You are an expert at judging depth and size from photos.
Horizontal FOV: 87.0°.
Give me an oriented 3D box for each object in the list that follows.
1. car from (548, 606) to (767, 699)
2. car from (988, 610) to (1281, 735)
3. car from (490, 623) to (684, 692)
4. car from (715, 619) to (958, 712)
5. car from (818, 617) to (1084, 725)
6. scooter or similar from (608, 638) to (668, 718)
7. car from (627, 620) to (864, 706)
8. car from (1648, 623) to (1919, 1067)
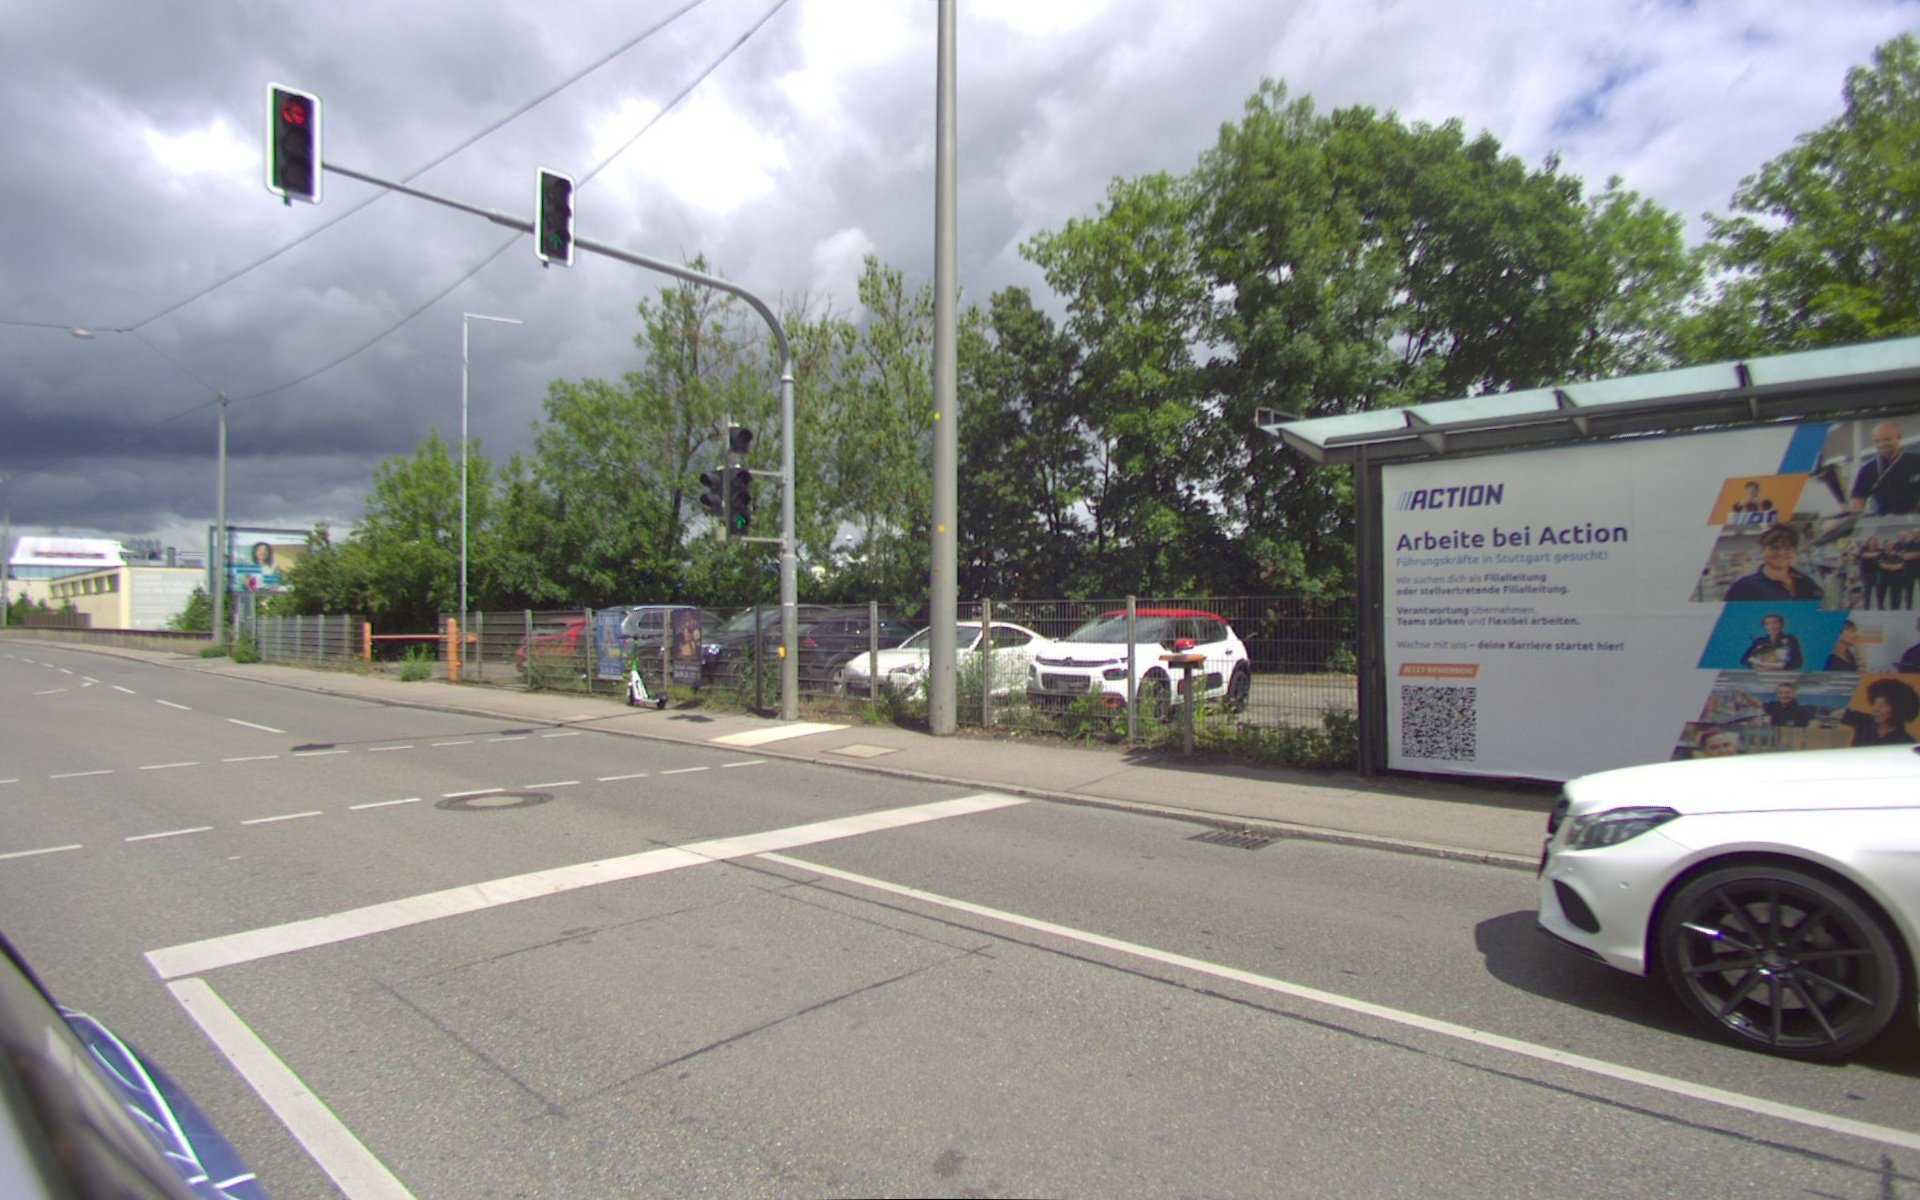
[{"bbox_3d":[-6.266,1.047,21.327,1.996,1.748,4.066,-1,-2,36],"label":"car"},{"bbox_3d":[2.524,0.884,13.915,2.024,1.430,4.265,-2,-2,42],"label":"car"},{"bbox_3d":[-8.407,1.241,23.090,1.896,1.430,3.823,-1,-2,32],"label":"car"},{"bbox_3d":[-2.052,1.061,17.787,1.997,1.430,4.064,-1,-2,37],"label":"car"},{"bbox_3d":[-0.024,0.986,15.606,1.915,1.430,4.060,-2,-2,41],"label":"car"},{"bbox_3d":[-5.151,1.227,16.184,0.419,1.220,1.127,-1,0,-45],"label":"scooter or similar"},{"bbox_3d":[-3.974,1.113,19.242,1.998,1.430,4.061,-2,-2,40],"label":"car"},{"bbox_3d":[4.654,0.758,2.917,4.222,1.387,1.777,-2,-3,41],"label":"car"}]
